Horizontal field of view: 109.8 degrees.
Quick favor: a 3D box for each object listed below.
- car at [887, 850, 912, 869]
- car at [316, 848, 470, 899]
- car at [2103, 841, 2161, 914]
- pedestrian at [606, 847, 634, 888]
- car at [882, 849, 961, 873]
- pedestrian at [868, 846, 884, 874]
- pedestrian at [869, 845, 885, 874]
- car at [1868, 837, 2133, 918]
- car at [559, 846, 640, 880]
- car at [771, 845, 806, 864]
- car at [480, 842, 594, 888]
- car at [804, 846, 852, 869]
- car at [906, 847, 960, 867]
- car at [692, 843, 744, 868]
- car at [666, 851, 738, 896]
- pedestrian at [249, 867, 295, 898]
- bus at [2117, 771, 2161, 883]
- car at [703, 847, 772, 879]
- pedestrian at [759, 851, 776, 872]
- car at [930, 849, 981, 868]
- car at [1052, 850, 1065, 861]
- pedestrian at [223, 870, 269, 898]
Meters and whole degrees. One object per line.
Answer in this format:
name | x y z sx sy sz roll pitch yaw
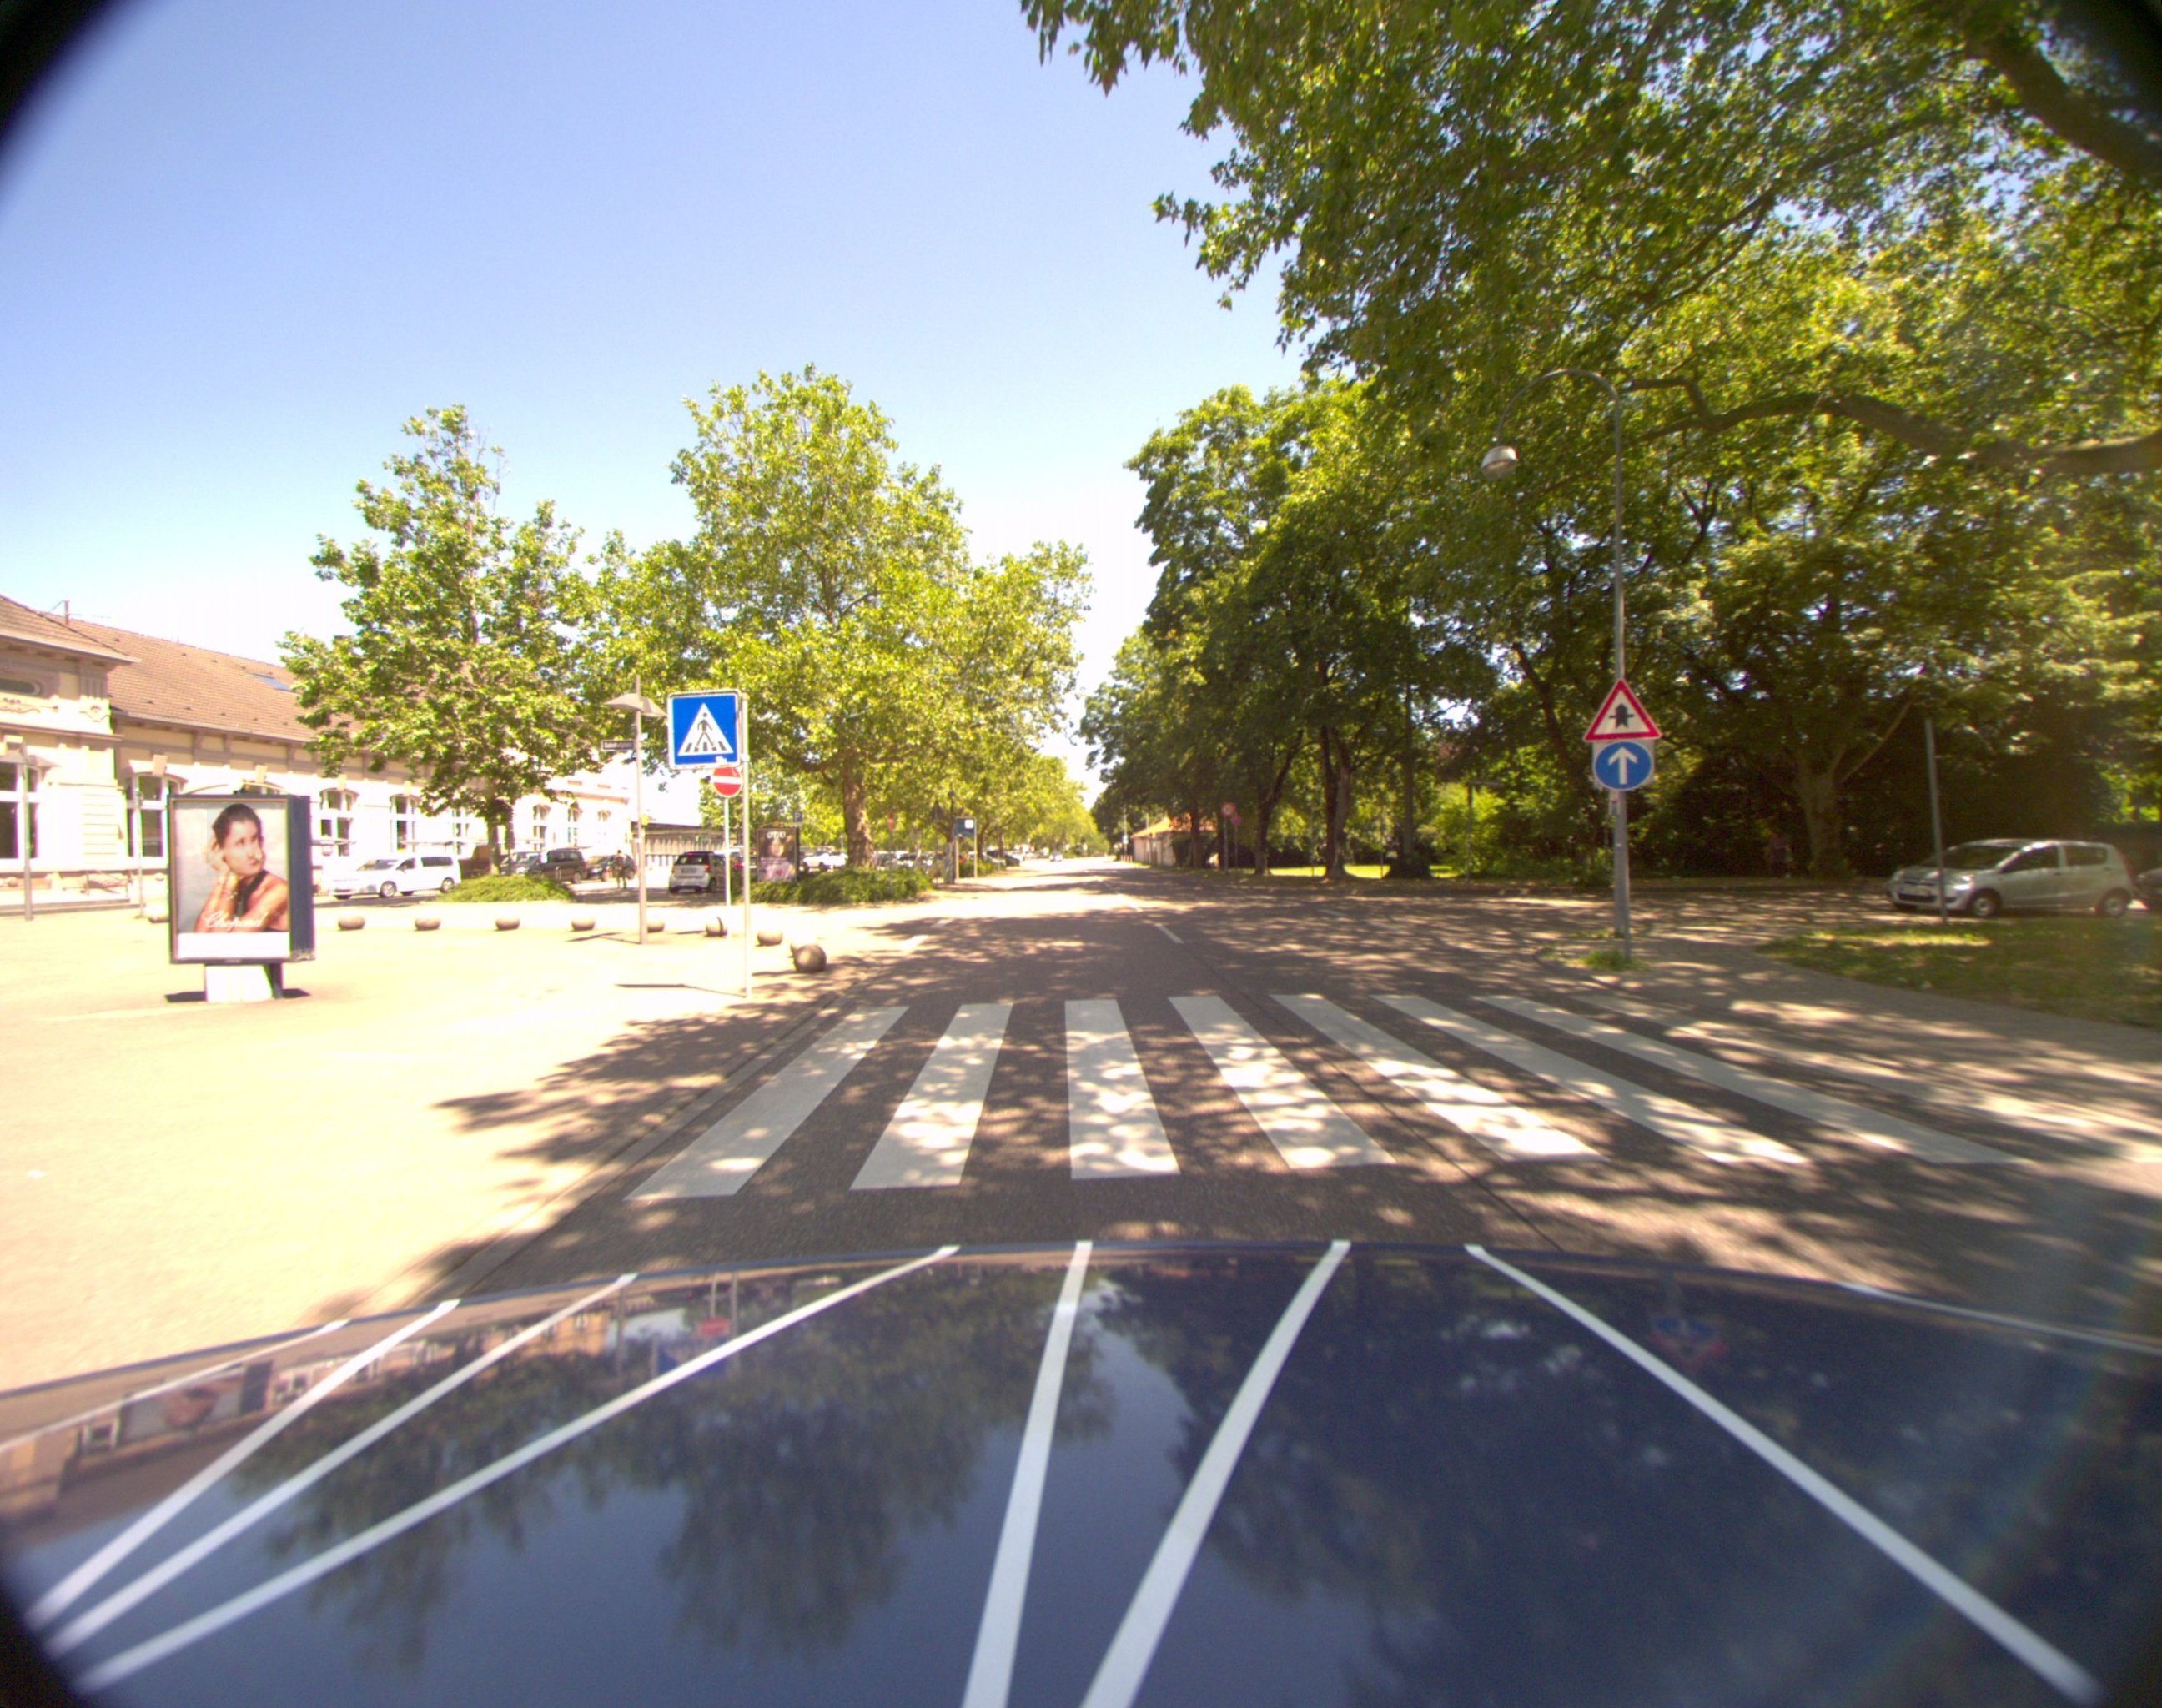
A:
car | -18.899 0.518 79.083 1.741 1.883 3.991 -1 1 -25
car | -27.983 0.726 31.216 1.814 1.855 5.137 -2 0 -4
car | 24.018 0.458 15.323 4.500 1.431 1.755 -1 2 -1
pedestrian | -19.412 0.549 32.013 0.812 1.707 0.775 0 2 42
car | -10.349 0.446 49.363 4.783 1.409 1.783 -1 1 -20
pedestrian | -13.078 0.348 48.456 0.839 1.760 0.850 -1 1 -20
pedestrian | -12.725 0.317 47.480 0.840 1.760 0.850 -1 1 -22
car | 18.624 0.433 15.499 3.483 1.489 1.599 -1 2 -1
car | -28.371 0.519 44.964 2.080 1.829 4.837 -2 0 -6
car | -31.039 0.038 80.736 1.998 1.779 4.246 -3 2 0
car | -27.715 0.526 38.999 2.093 2.112 5.822 -2 0 -6
car | -19.713 0.256 59.046 4.051 1.596 1.804 2 4 43
car | -11.608 0.244 59.683 3.882 1.452 1.632 -1 1 -29
car | -28.520 0.085 59.930 2.004 1.830 5.314 -3 1 -6
car | -14.599 0.700 29.447 1.602 1.584 3.103 -1 1 -9
pedestrian | -31.872 1.124 29.950 0.881 1.155 0.851 0 1 -5
bus | 39.714 -0.904 21.990 15.940 3.276 2.876 -1 1 -1
car | -19.261 0.457 42.556 4.516 1.535 1.804 1 4 42
pedestrian | -21.707 0.504 52.598 0.689 1.416 0.802 0 2 42
car | -10.502 0.358 63.538 3.882 1.452 1.632 -1 1 -29
car | -3.210 0.183 106.211 1.661 1.368 3.450 -4 1 -3
pedestrian | -32.810 1.163 29.873 0.881 1.073 0.851 0 1 -5
